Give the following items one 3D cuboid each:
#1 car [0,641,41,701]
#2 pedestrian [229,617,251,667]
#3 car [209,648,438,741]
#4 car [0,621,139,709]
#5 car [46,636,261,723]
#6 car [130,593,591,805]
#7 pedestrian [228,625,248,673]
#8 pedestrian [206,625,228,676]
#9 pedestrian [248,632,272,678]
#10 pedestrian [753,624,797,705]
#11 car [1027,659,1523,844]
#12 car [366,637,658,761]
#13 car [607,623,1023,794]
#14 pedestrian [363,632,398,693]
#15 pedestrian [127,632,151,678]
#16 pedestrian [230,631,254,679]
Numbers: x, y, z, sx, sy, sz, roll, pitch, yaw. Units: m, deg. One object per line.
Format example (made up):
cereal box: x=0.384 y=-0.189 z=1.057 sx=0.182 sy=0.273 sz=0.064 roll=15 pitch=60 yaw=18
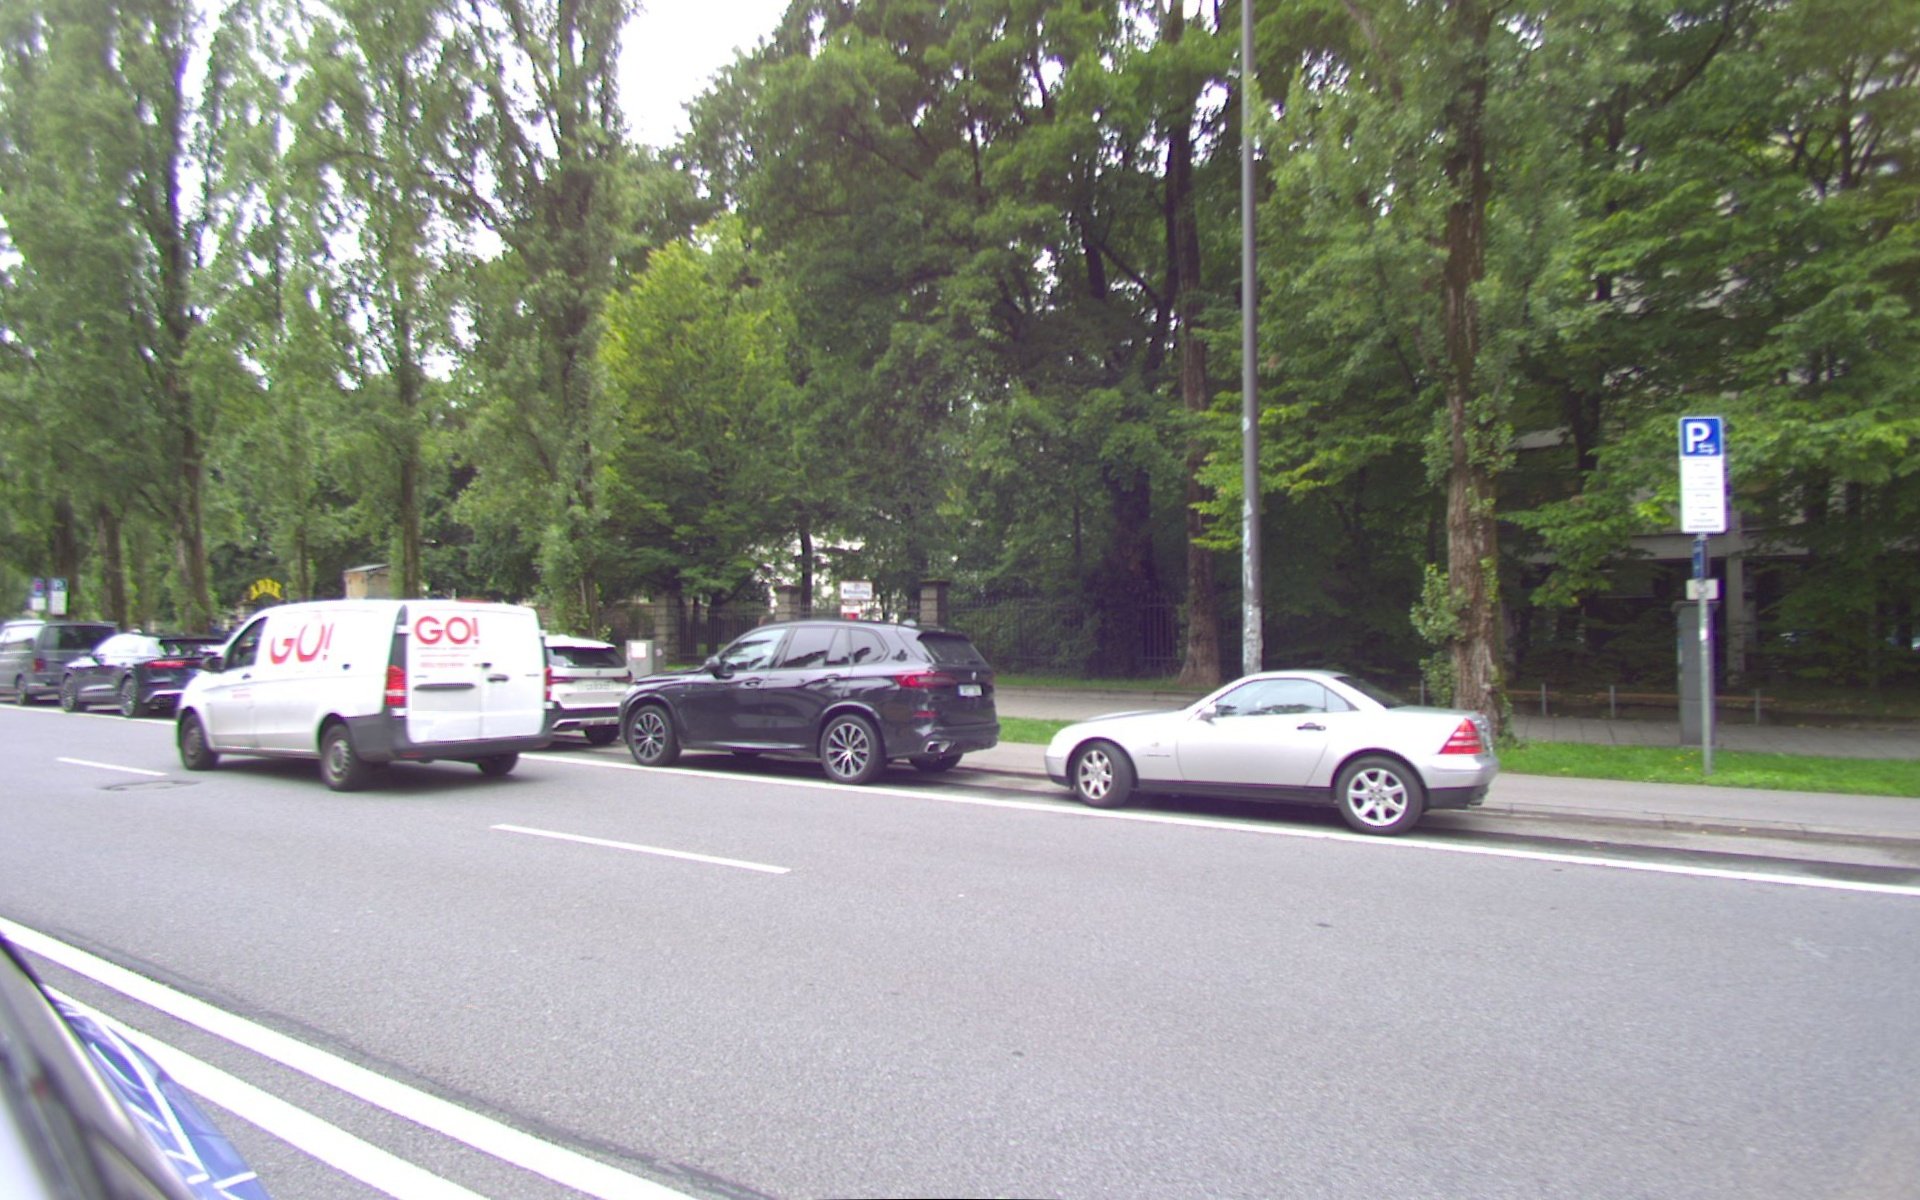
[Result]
car: x=-27.828 y=1.963 z=28.288 sx=4.637 sy=1.596 sz=1.877 roll=-2 pitch=-3 yaw=31
pedestrian: x=-28.761 y=1.673 z=40.411 sx=0.530 sy=1.974 sz=0.545 roll=-1 pitch=-1 yaw=30
car: x=-11.233 y=1.587 z=17.799 sx=4.222 sy=1.433 sz=1.664 roll=-1 pitch=-3 yaw=31
car: x=-22.400 y=1.567 z=24.782 sx=4.919 sy=1.971 sz=1.979 roll=-2 pitch=-4 yaw=31
car: x=-16.807 y=1.595 z=21.022 sx=5.035 sy=1.621 sz=1.802 roll=-1 pitch=-4 yaw=31
car: x=-6.992 y=1.002 z=11.596 sx=5.677 sy=1.906 sz=2.166 roll=-1 pitch=-4 yaw=32
pedestrian: x=-28.400 y=1.931 z=39.812 sx=0.609 sy=1.849 sz=0.430 roll=-1 pitch=-2 yaw=31
pedestrian: x=-28.983 y=1.950 z=39.470 sx=0.530 sy=1.974 sz=0.545 roll=-1 pitch=-1 yaw=30
pedestrian: x=-25.880 y=2.017 z=37.421 sx=0.530 sy=1.682 sz=0.545 roll=-1 pitch=-1 yaw=30
pedestrian: x=-4.246 y=1.458 z=23.189 sx=0.773 sy=1.829 sz=0.635 roll=-1 pitch=-2 yaw=31
car: x=2.739 y=1.207 z=9.144 sx=4.015 sy=1.315 sz=1.568 roll=-2 pitch=-4 yaw=32
car: x=-6.704 y=1.390 z=15.025 sx=4.446 sy=1.601 sz=1.771 roll=-2 pitch=-4 yaw=32
car: x=-1.768 y=1.177 z=11.898 sx=4.699 sy=1.671 sz=1.867 roll=-2 pitch=-4 yaw=30
pedestrian: x=-16.821 y=1.801 z=29.367 sx=0.784 sy=1.733 sz=0.578 roll=-2 pitch=-1 yaw=30
pedestrian: x=-31.651 y=2.105 z=39.013 sx=0.530 sy=1.761 sz=0.545 roll=-1 pitch=-1 yaw=30
pedestrian: x=-26.122 y=1.984 z=36.836 sx=0.530 sy=1.714 sz=0.545 roll=-1 pitch=-1 yaw=30
